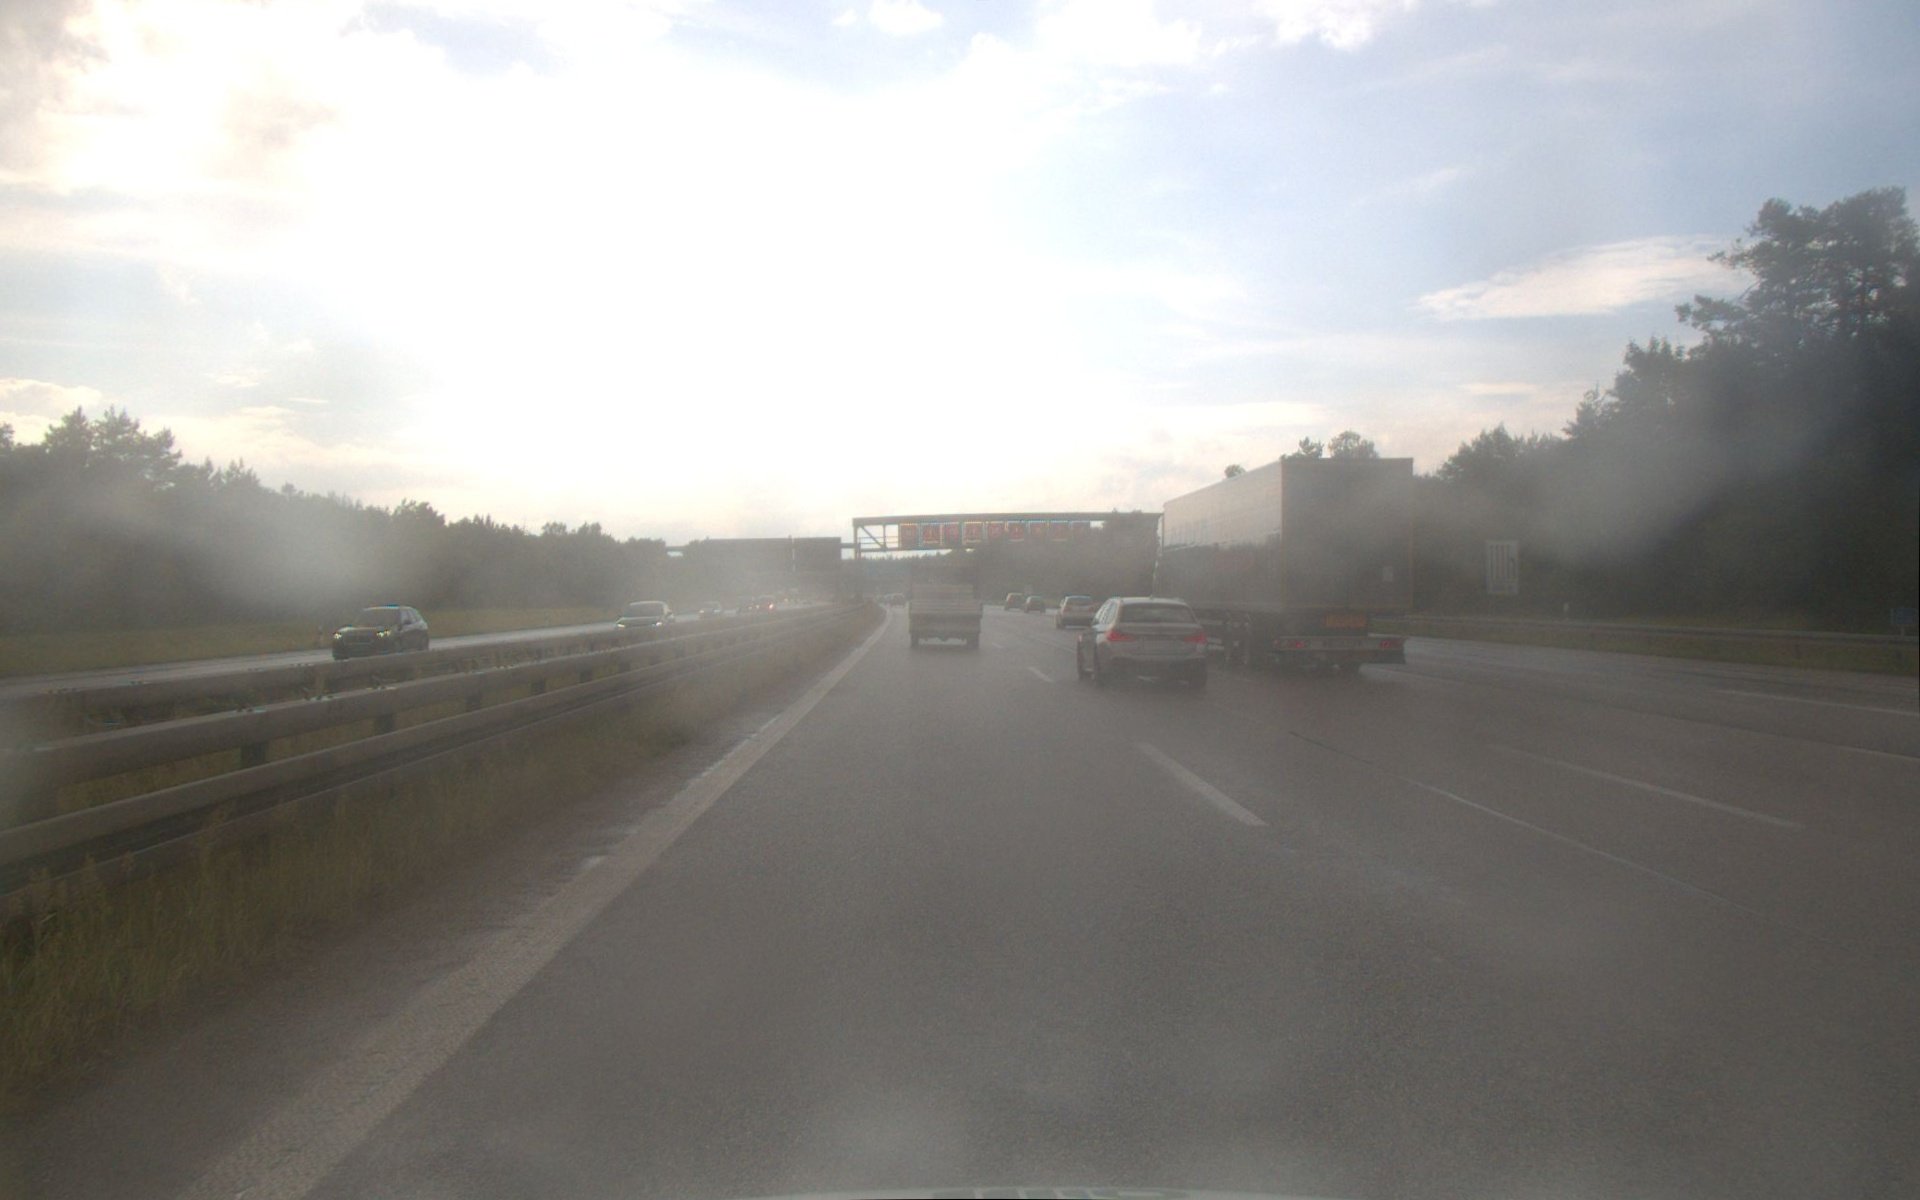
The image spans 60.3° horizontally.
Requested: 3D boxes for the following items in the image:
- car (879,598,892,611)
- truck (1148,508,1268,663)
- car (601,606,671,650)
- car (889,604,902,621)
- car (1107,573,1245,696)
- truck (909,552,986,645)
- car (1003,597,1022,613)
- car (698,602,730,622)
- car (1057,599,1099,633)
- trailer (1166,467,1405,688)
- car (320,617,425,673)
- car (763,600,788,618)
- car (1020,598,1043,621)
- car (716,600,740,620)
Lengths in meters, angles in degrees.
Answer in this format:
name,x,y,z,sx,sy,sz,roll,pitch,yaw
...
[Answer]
name,x,y,z,sx,sy,sz,roll,pitch,yaw
car,-11.594,0.665,257.212,1.758,2.049,3.999,1,0,-1
truck,6.580,-0.365,44.554,2.247,3.935,5.390,0,0,-2
car,-11.300,0.954,57.904,1.837,1.456,3.998,-1,0,-3
car,-8.285,1.538,210.952,1.584,2.049,3.998,1,0,-2
car,3.611,0.533,28.466,2.034,1.918,5.013,0,0,4
truck,-0.328,-0.062,47.837,2.093,2.532,5.313,0,0,0
car,5.534,0.530,173.374,1.706,1.718,3.998,0,0,-2
car,-19.762,0.932,133.125,1.953,1.526,4.607,-2,0,-2
car,5.478,0.731,76.991,1.793,1.492,4.001,1,0,2
trailer,6.850,-0.424,37.250,2.277,4.071,13.406,0,0,-2
car,-17.544,1.312,49.572,1.837,1.498,3.998,-2,0,-3
car,-16.768,0.821,150.533,1.953,1.637,4.607,0,0,-2
car,6.491,0.840,150.108,1.952,2.049,4.001,1,0,1
car,-24.261,1.033,172.887,1.954,1.950,4.722,-3,0,-2
